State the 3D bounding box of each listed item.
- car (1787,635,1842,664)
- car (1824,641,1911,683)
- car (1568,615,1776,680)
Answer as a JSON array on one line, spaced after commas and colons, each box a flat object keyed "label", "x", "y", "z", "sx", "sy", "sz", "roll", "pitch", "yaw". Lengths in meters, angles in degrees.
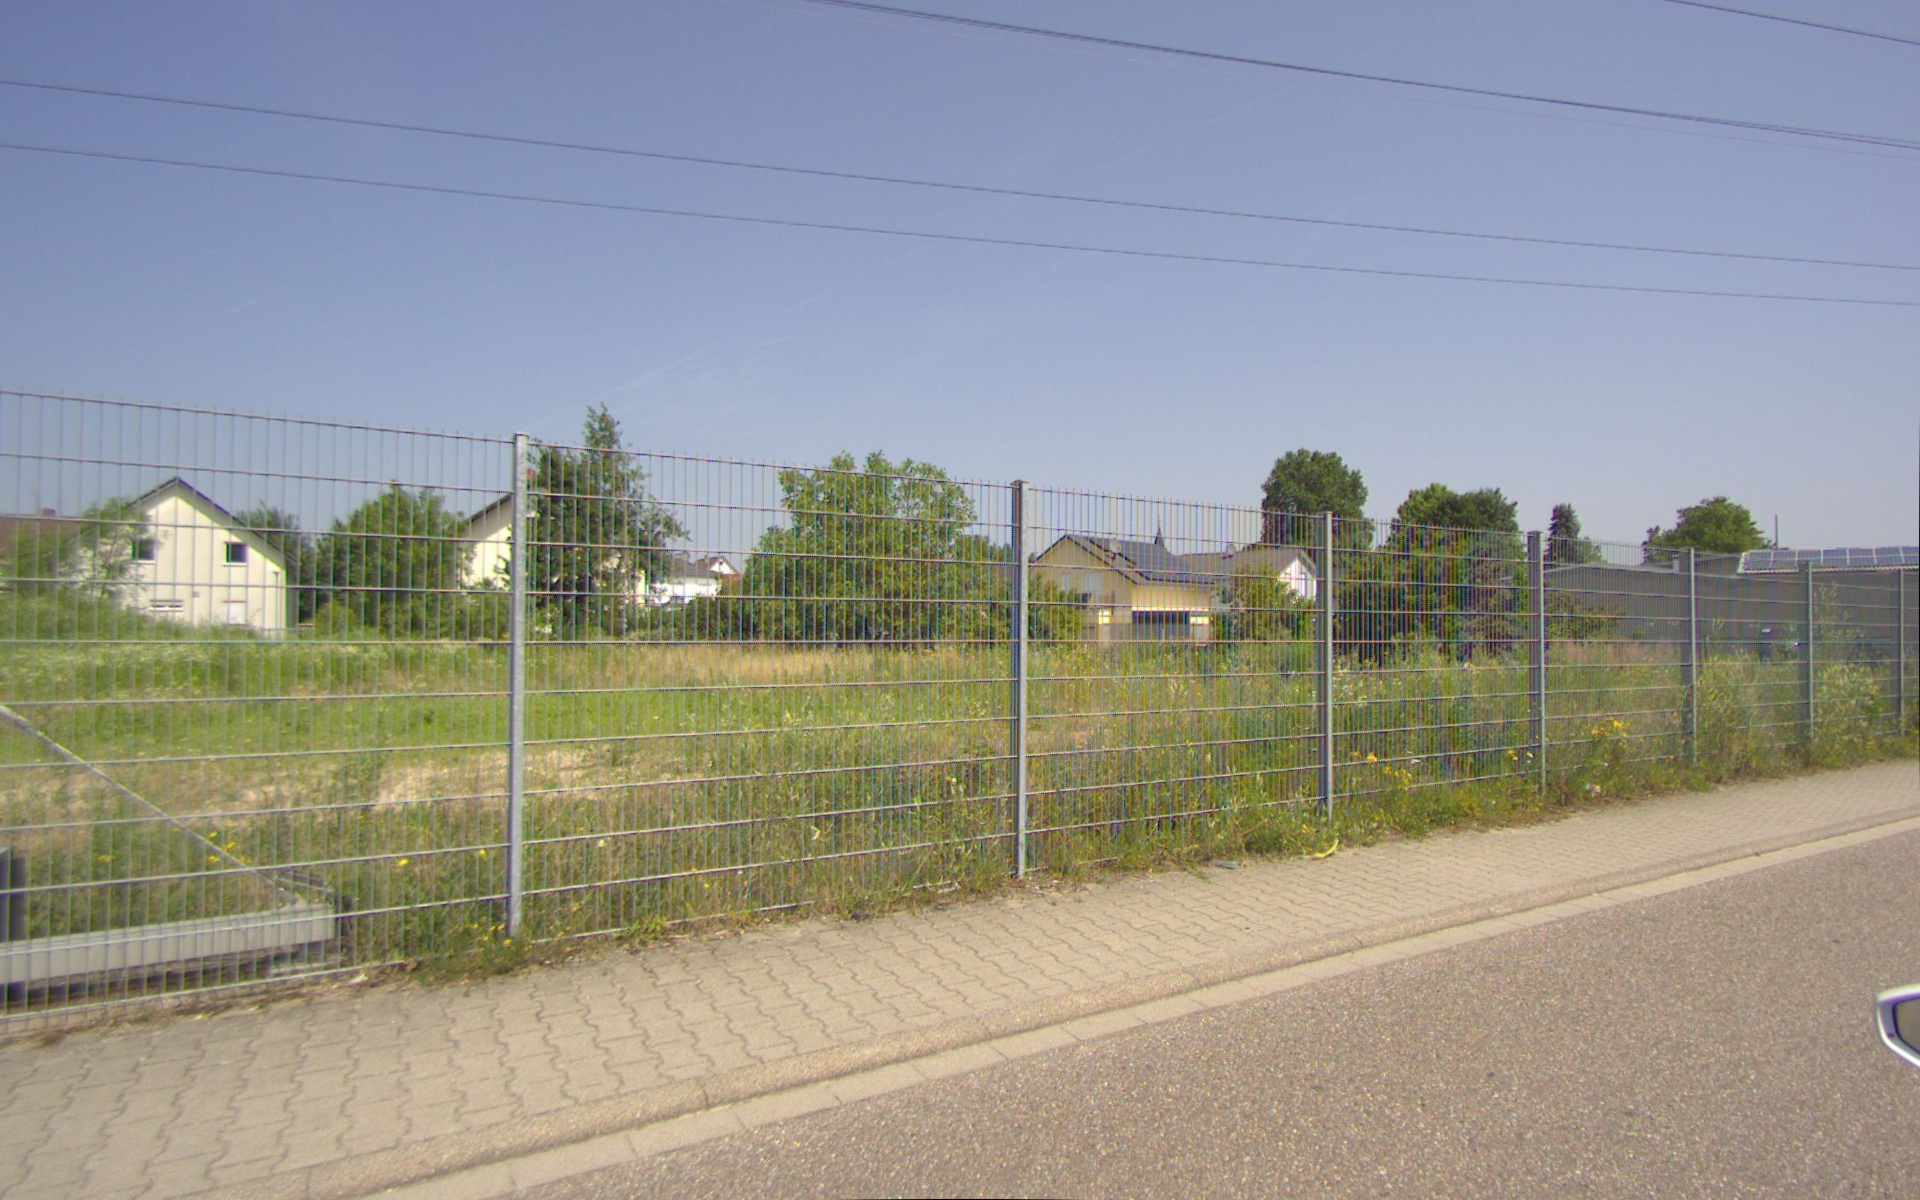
[{"label": "car", "x": 38.717, "y": 2.210, "z": 45.568, "sx": 1.840, "sy": 1.191, "sz": 4.583, "roll": 0, "pitch": -2, "yaw": 40}, {"label": "car", "x": 33.579, "y": 2.257, "z": 37.259, "sx": 1.837, "sy": 1.433, "sz": 3.432, "roll": 0, "pitch": -1, "yaw": 33}, {"label": "car", "x": 18.970, "y": 1.212, "z": 26.841, "sx": 4.373, "sy": 1.583, "sz": 2.032, "roll": 0, "pitch": -2, "yaw": 41}]
